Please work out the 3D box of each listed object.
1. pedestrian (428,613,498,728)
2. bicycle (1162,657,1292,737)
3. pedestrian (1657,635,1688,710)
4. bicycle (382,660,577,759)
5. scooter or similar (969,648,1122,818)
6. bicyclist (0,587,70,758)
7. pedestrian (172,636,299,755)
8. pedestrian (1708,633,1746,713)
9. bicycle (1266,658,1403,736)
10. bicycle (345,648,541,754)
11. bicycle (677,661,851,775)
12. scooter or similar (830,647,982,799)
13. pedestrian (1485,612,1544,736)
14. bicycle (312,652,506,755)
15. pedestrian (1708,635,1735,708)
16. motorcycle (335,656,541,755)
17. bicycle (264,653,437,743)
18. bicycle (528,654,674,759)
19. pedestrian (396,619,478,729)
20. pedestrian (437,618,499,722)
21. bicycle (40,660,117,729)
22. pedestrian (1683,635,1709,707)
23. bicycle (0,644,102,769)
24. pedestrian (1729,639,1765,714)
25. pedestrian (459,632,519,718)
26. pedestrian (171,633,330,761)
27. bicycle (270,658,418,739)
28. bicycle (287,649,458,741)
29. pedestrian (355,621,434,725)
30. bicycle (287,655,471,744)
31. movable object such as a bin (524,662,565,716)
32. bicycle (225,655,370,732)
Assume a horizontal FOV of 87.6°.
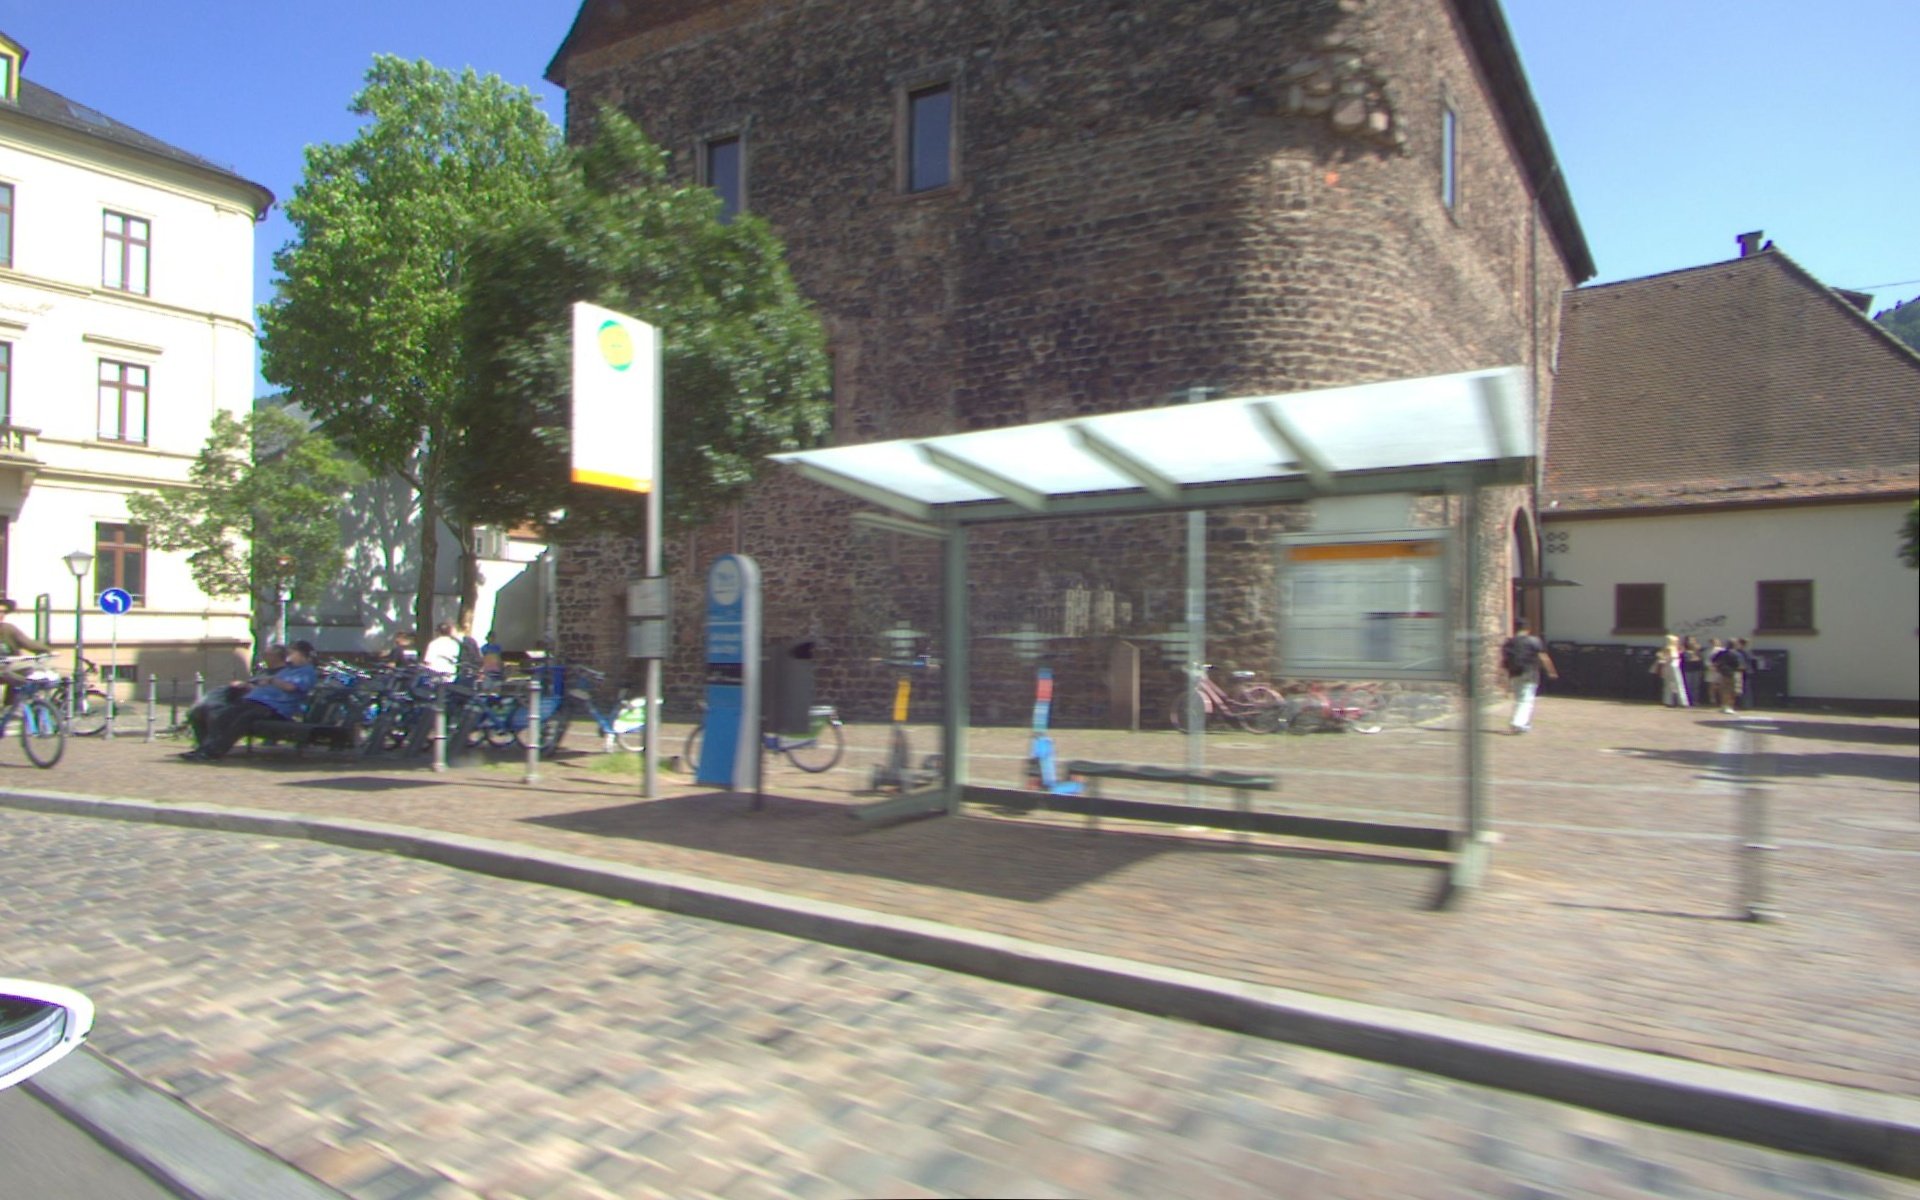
[{"bbox_3d":[-8.869,1.243,17.875,0.924,1.985,0.654,-1,-2,23],"label":"pedestrian"},{"bbox_3d":[4.126,1.479,15.530,1.895,1.175,0.526,-1,-2,23],"label":"bicycle"},{"bbox_3d":[16.387,1.662,23.039,0.525,1.687,0.580,-1,-2,32],"label":"pedestrian"},{"bbox_3d":[-5.814,1.304,12.250,0.789,1.079,2.023,0,-4,31],"label":"bicycle"},{"bbox_3d":[0.728,1.029,8.075,0.642,1.230,1.429,-1,-5,32],"label":"scooter or similar"},{"bbox_3d":[-9.599,0.720,10.032,0.872,1.648,0.709,-1,-2,25],"label":"bicyclist"},{"bbox_3d":[-8.322,1.071,11.526,0.683,1.298,0.960,-1,-3,30],"label":"pedestrian"},{"bbox_3d":[16.644,1.578,21.732,0.574,1.687,0.531,-1,-2,32],"label":"pedestrian"},{"bbox_3d":[5.737,1.479,15.414,1.889,1.167,0.548,0,-2,2],"label":"bicycle"},{"bbox_3d":[-6.484,1.252,12.699,0.765,1.213,2.078,0,-4,31],"label":"bicycle"},{"bbox_3d":[-2.041,1.219,10.526,1.704,1.145,0.548,0,-2,3],"label":"bicycle"},{"bbox_3d":[-0.446,1.064,8.942,0.642,1.230,1.429,-1,-5,32],"label":"scooter or similar"},{"bbox_3d":[8.668,1.140,15.638,0.750,1.869,0.795,-1,-2,32],"label":"pedestrian"},{"bbox_3d":[-7.141,1.322,13.104,0.765,1.213,2.078,0,-4,31],"label":"bicycle"},{"bbox_3d":[17.768,1.655,23.378,0.445,1.687,0.358,-1,-2,32],"label":"pedestrian"},{"bbox_3d":[-6.517,1.296,12.643,0.765,1.117,2.203,0,-4,31],"label":"motorcycle"},{"bbox_3d":[-8.863,1.412,14.673,0.599,1.213,2.078,0,-4,31],"label":"bicycle"},{"bbox_3d":[-4.415,1.273,12.393,0.716,1.213,1.543,-1,-3,38],"label":"bicycle"},{"bbox_3d":[-8.796,1.231,16.861,0.894,1.775,0.803,-1,-2,23],"label":"pedestrian"},{"bbox_3d":[-9.531,1.356,19.418,0.775,1.966,0.806,0,-2,-1],"label":"pedestrian"},{"bbox_3d":[-13.646,1.474,15.492,1.560,1.015,0.507,-5,-6,35],"label":"bicycle"},{"bbox_3d":[17.334,1.664,23.587,0.445,1.687,0.358,-1,-2,32],"label":"pedestrian"},{"bbox_3d":[-9.514,1.017,9.975,1.976,1.143,0.689,-1,-2,25],"label":"bicycle"},{"bbox_3d":[17.760,1.709,22.594,0.580,1.664,0.420,0,-2,32],"label":"pedestrian"},{"bbox_3d":[-10.027,1.577,21.328,0.947,1.782,0.757,-1,-2,32],"label":"pedestrian"},{"bbox_3d":[-7.815,1.042,11.072,0.683,1.324,1.246,-1,-3,30],"label":"pedestrian"},{"bbox_3d":[-9.303,1.474,15.198,0.599,1.124,1.791,0,-4,31],"label":"bicycle"},{"bbox_3d":[-8.357,1.346,14.363,0.519,1.213,2.078,0,-4,31],"label":"bicycle"},{"bbox_3d":[-10.052,1.284,17.854,0.910,1.787,0.990,1,-2,-10],"label":"pedestrian"},{"bbox_3d":[-7.748,1.312,13.473,0.595,1.098,2.078,0,-4,31],"label":"bicycle"},{"bbox_3d":[-9.087,1.935,21.919,0.741,1.138,0.488,-1,-3,33],"label":"movable object such as a bin"},{"bbox_3d":[-10.316,1.451,15.672,0.555,1.124,1.791,0,-4,31],"label":"bicycle"}]
